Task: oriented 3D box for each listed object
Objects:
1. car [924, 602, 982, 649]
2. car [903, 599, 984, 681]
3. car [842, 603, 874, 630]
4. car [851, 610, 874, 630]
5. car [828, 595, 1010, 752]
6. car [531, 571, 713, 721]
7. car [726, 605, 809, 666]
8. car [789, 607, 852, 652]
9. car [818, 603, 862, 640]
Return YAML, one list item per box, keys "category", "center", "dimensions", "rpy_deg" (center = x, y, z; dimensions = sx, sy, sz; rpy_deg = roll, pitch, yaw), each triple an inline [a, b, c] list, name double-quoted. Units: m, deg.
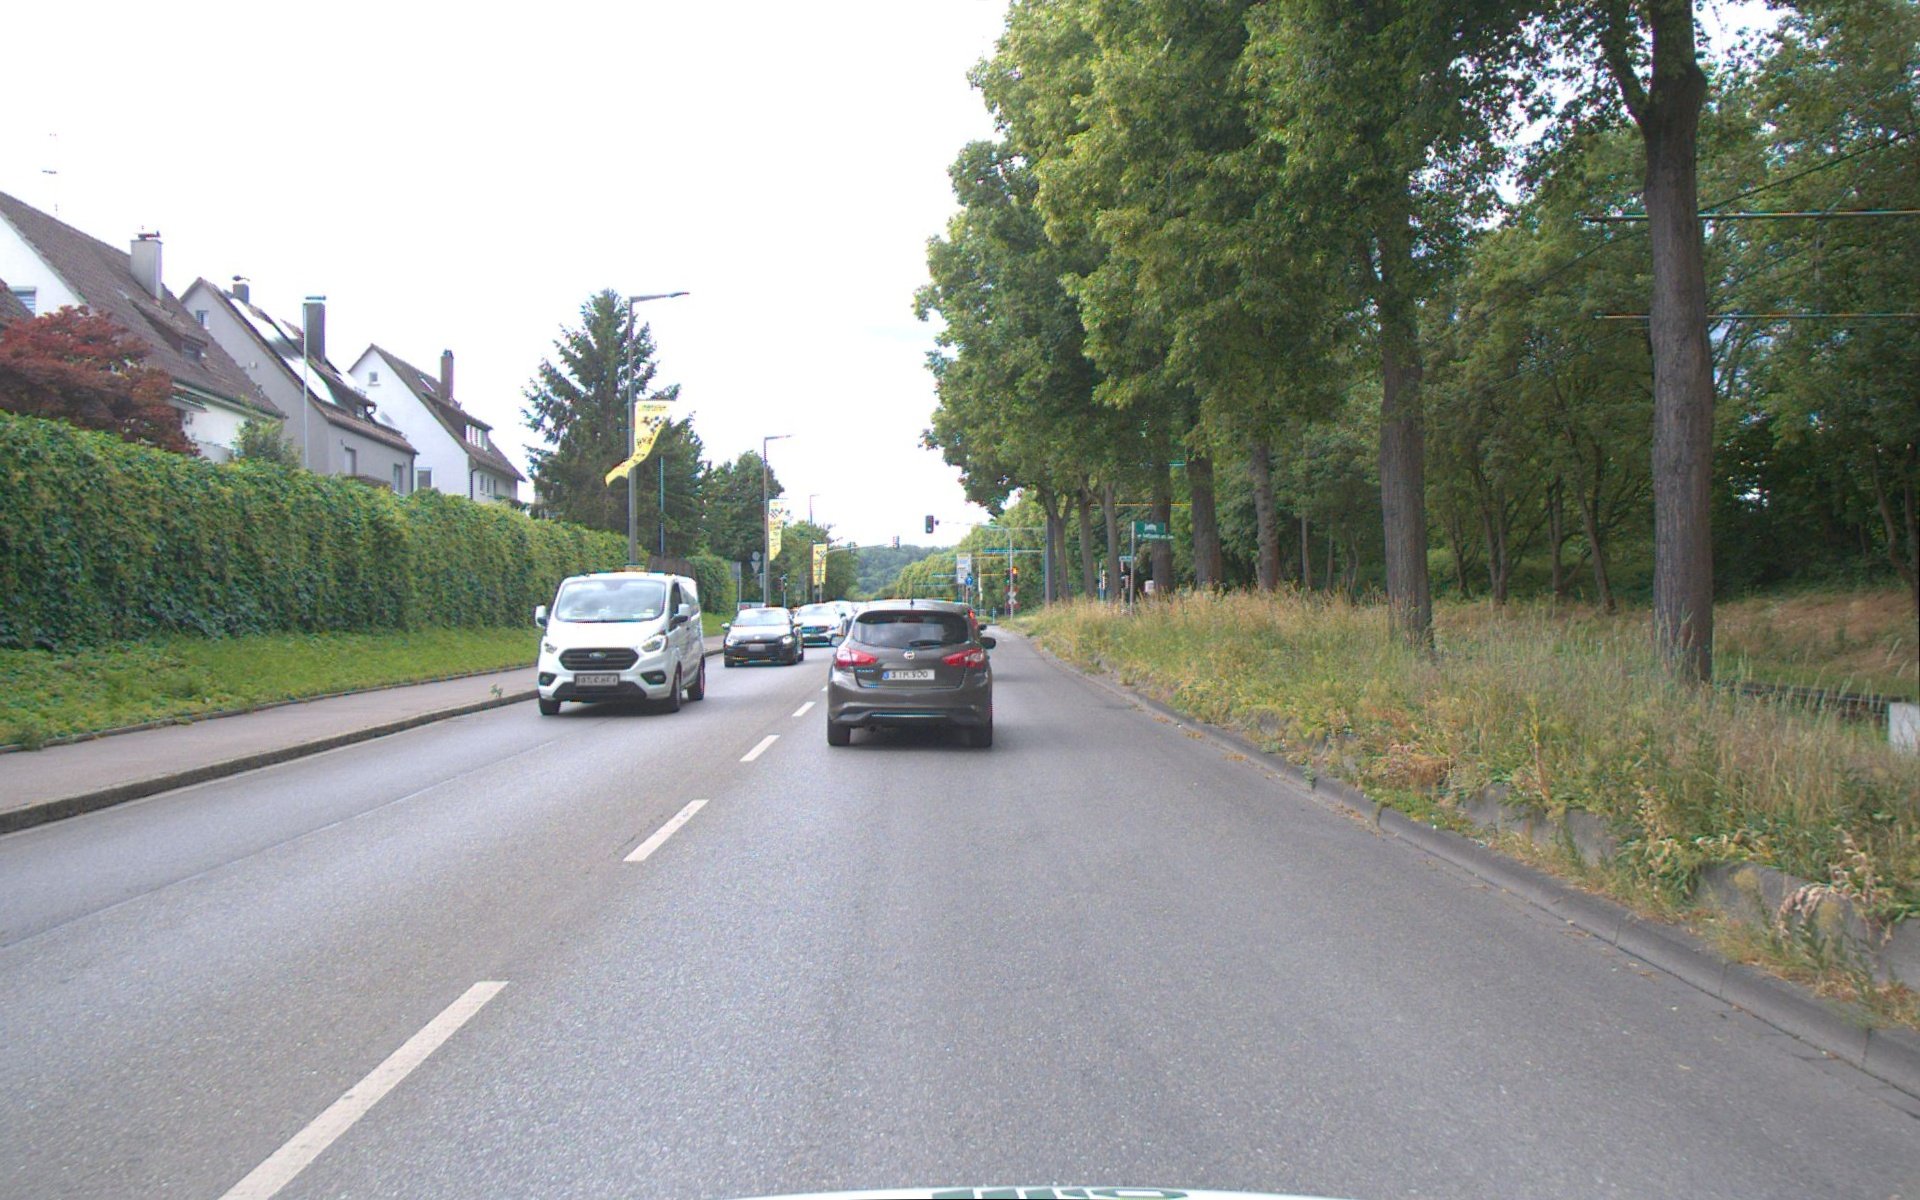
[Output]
- category: "car"
  center: [-0.241, 0.784, 52.648]
  dimensions: [1.755, 1.421, 3.999]
  rpy_deg: [-1, 0, -1]
- category: "car"
  center: [-0.333, 0.737, 32.528]
  dimensions: [1.507, 1.504, 3.763]
  rpy_deg: [0, 0, -1]
- category: "car"
  center: [-6.050, 0.958, 98.610]
  dimensions: [1.693, 1.490, 4.152]
  rpy_deg: [-2, 0, -2]
- category: "car"
  center: [-8.021, 1.613, 136.873]
  dimensions: [1.776, 1.550, 4.175]
  rpy_deg: [-2, 0, -3]
- category: "car"
  center: [-0.442, 0.738, 18.824]
  dimensions: [1.798, 1.545, 4.482]
  rpy_deg: [1, 0, -1]
- category: "car"
  center: [-4.945, 0.591, 24.877]
  dimensions: [1.868, 1.966, 4.909]
  rpy_deg: [-2, 1, -2]
- category: "car"
  center: [-4.758, 0.855, 41.365]
  dimensions: [1.617, 1.371, 4.476]
  rpy_deg: [-2, 0, -1]
- category: "car"
  center: [-4.814, 0.999, 57.679]
  dimensions: [1.848, 1.407, 4.490]
  rpy_deg: [-2, 0, -1]
- category: "car"
  center: [-5.319, 0.930, 73.641]
  dimensions: [1.716, 1.545, 3.998]
  rpy_deg: [-3, 0, -2]
